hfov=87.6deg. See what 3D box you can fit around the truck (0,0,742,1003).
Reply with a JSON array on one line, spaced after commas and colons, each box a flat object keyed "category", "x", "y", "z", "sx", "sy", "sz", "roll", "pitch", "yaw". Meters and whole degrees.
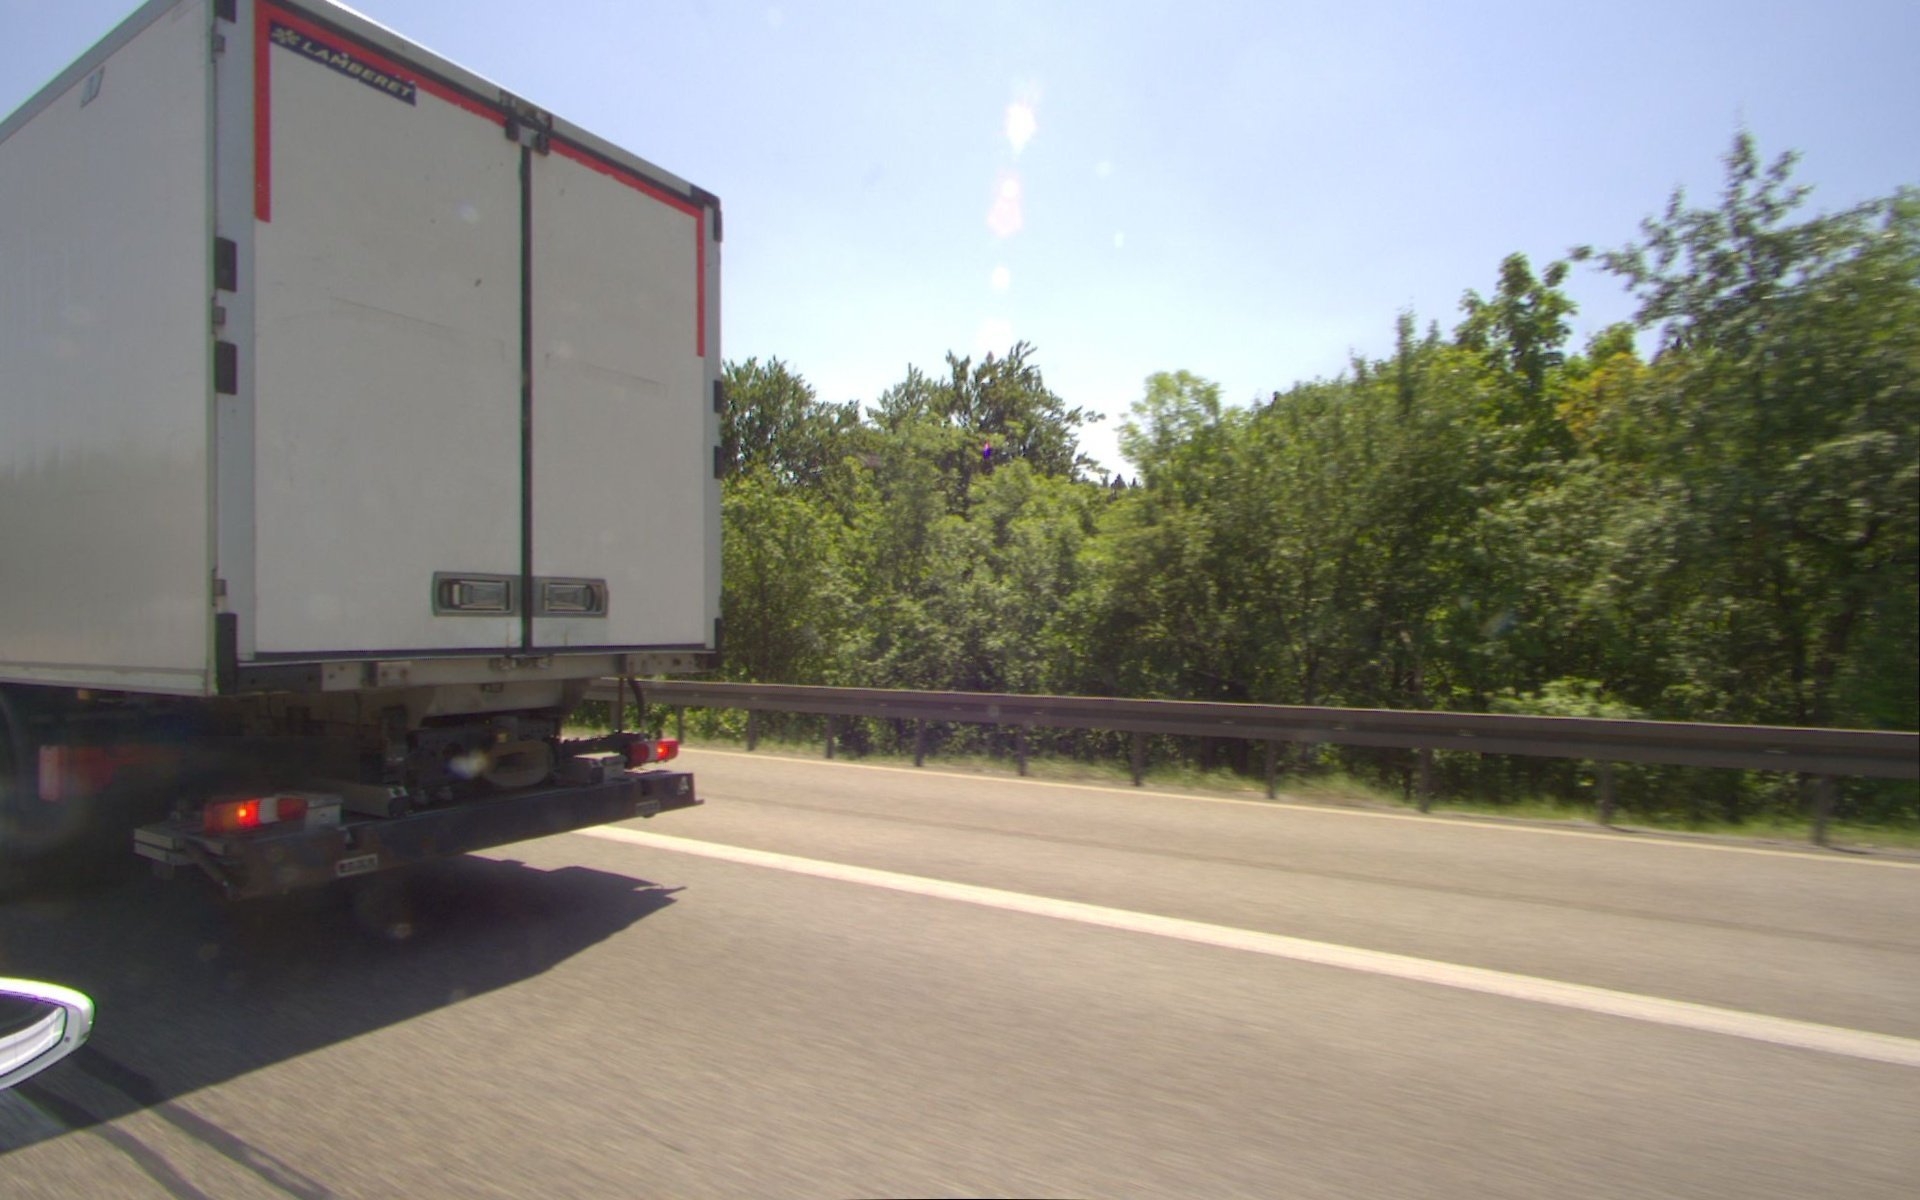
[{"category": "truck", "x": -6.111, "y": -0.462, "z": 7.345, "sx": 9.641, "sy": 3.929, "sz": 2.681, "roll": -1, "pitch": 2, "yaw": 33}]
